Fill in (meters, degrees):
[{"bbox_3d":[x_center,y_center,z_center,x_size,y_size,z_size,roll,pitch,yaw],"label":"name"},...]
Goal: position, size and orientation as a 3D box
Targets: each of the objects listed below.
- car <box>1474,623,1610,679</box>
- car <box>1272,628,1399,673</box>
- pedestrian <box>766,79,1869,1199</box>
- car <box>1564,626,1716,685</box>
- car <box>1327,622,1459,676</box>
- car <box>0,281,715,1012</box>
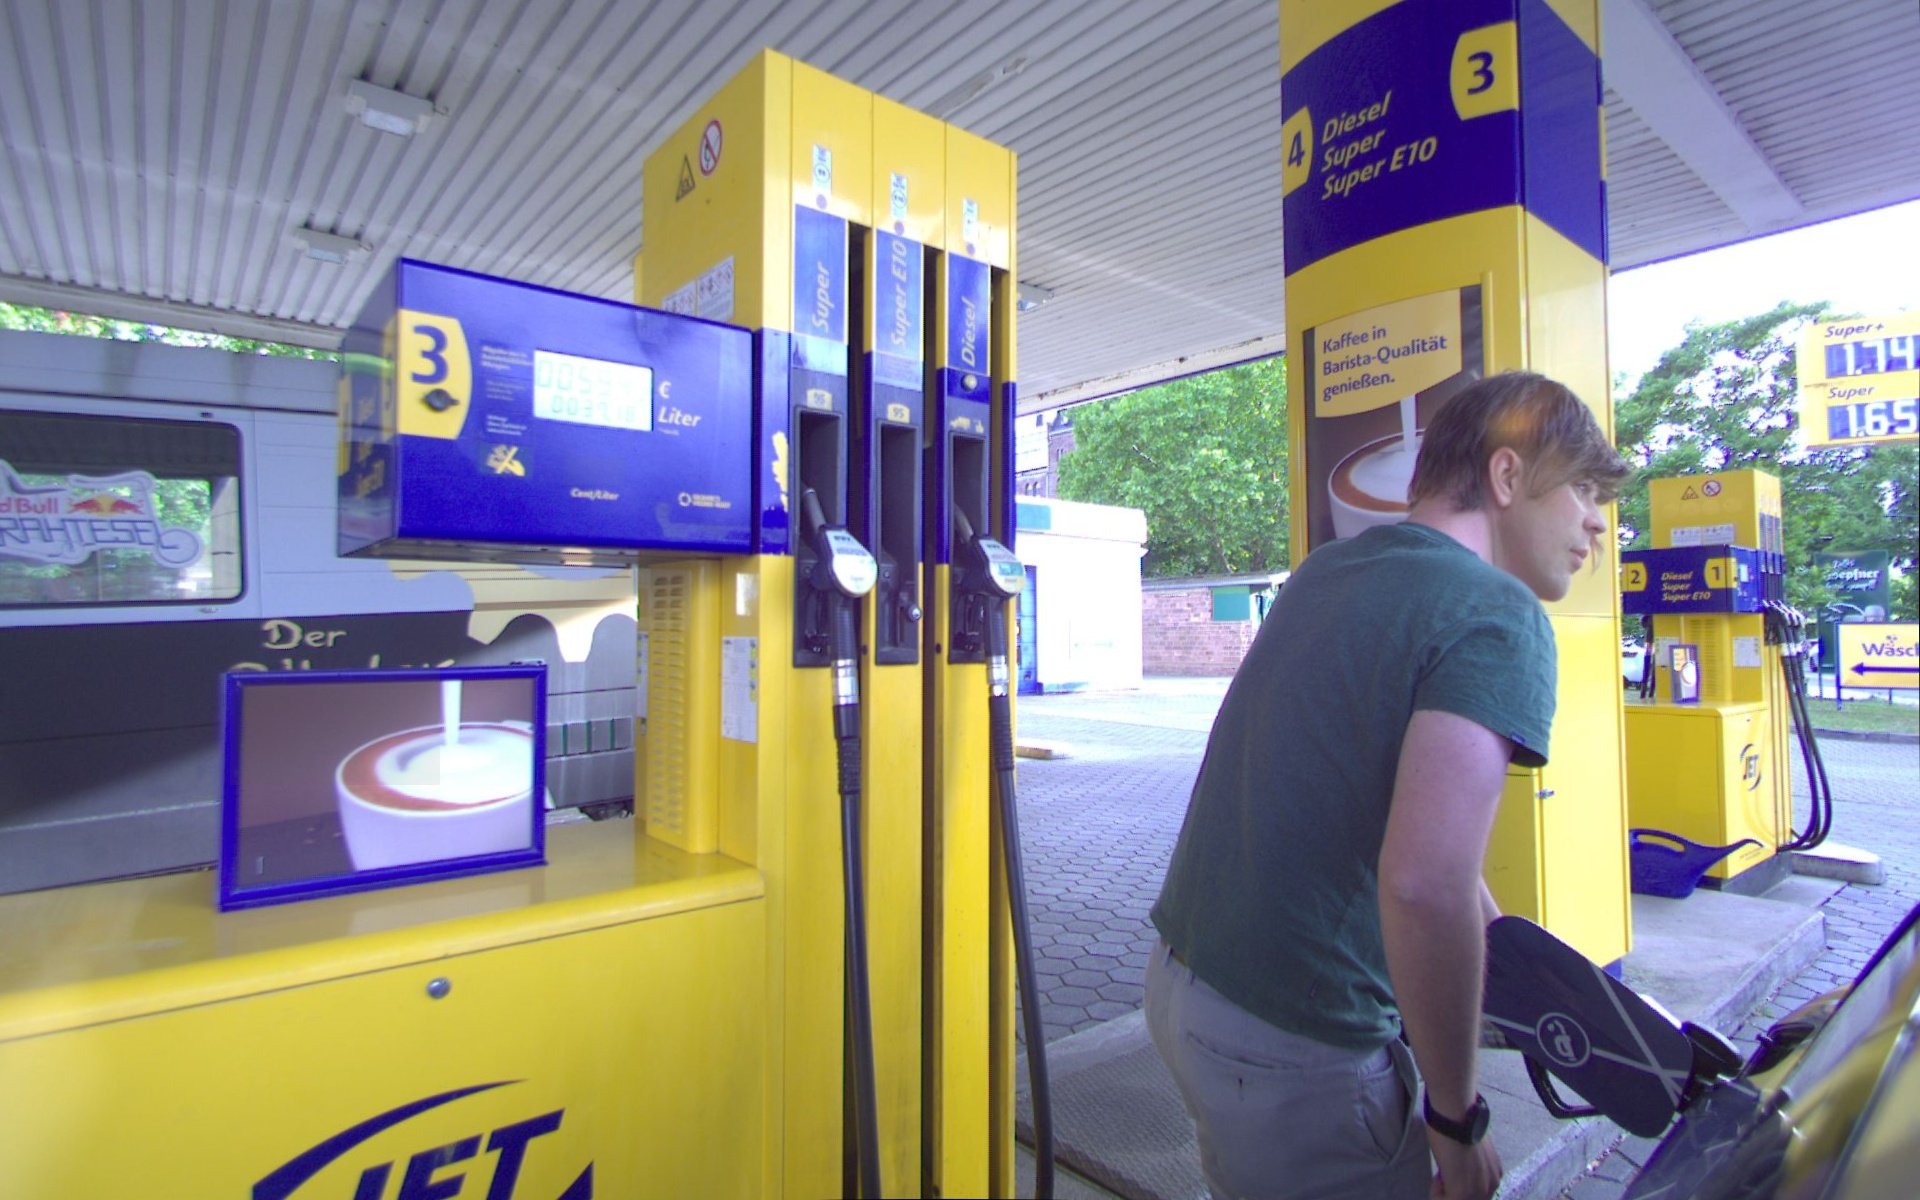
[{"bbox_3d":[17.773,1.572,30.859,4.112,1.606,1.826,2,-3,-31],"label":"car"},{"bbox_3d":[12.644,1.692,34.041,4.112,1.453,1.826,2,-3,-31],"label":"car"},{"bbox_3d":[0.493,0.512,1.431,1.161,1.750,0.993,-2,1,-38],"label":"pedestrian"},{"bbox_3d":[18.256,1.482,27.143,4.112,1.478,1.826,2,-3,-31],"label":"car"},{"bbox_3d":[13.784,1.562,32.178,4.112,1.606,1.826,2,-3,-31],"label":"car"},{"bbox_3d":[-4.095,0.184,4.863,5.248,2.760,2.201,0,-1,-39],"label":"car"}]
